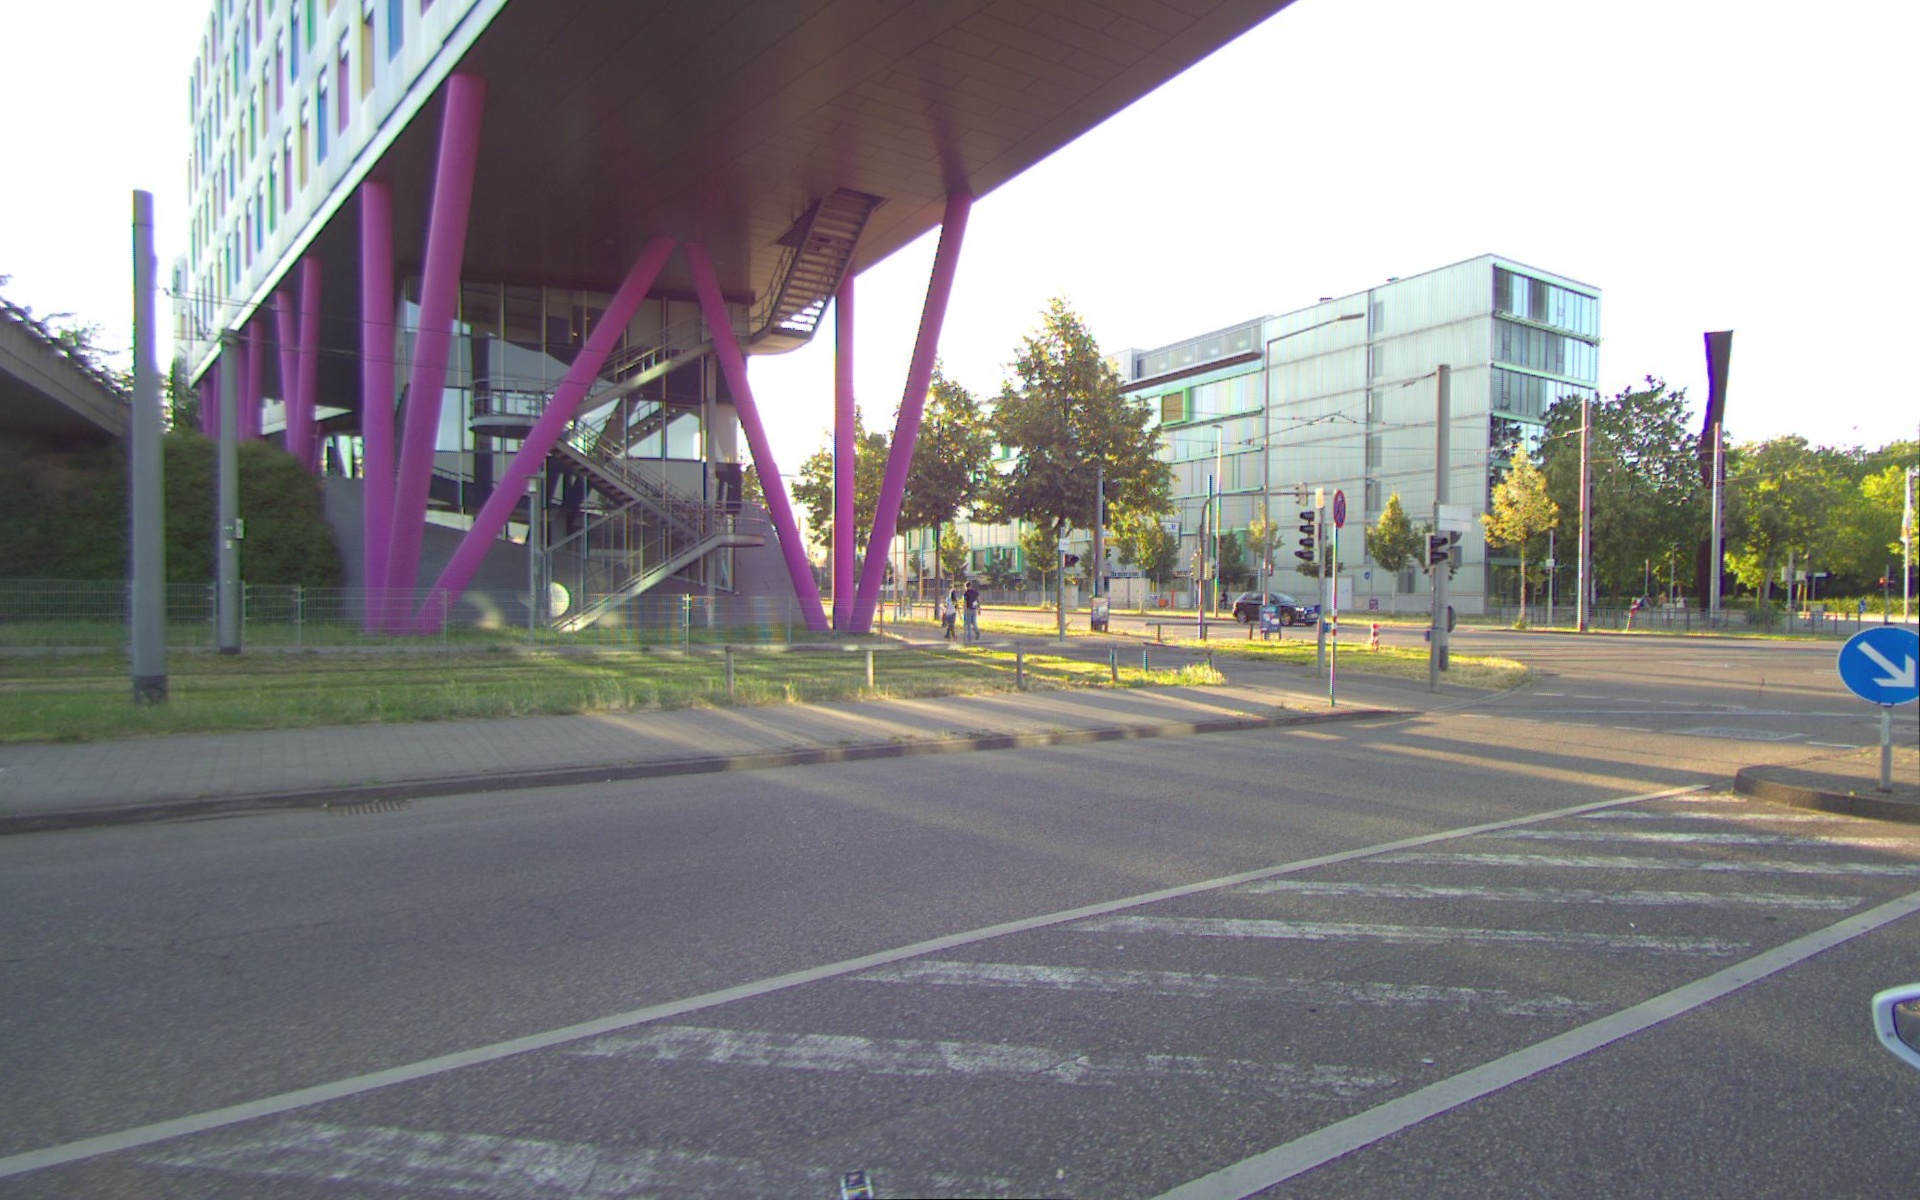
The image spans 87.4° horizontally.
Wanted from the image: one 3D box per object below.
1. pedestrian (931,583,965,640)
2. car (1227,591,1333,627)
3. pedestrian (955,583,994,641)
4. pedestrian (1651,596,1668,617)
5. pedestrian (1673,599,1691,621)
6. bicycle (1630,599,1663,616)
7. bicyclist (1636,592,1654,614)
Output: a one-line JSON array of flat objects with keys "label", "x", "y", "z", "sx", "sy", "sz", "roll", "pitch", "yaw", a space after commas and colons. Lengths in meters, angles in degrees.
[{"label": "pedestrian", "x": -0.378, "y": 0.368, "z": 30.956, "sx": 0.753, "sy": 1.727, "sz": 0.883, "roll": 0, "pitch": -1, "yaw": -23}, {"label": "car", "x": 14.934, "y": 0.389, "z": 47.078, "sx": 1.968, "sy": 1.577, "sz": 4.448, "roll": 1, "pitch": 0, "yaw": -34}, {"label": "pedestrian", "x": 0.446, "y": 0.376, "z": 31.153, "sx": 0.920, "sy": 1.747, "sz": 0.878, "roll": 0, "pitch": -1, "yaw": -23}, {"label": "pedestrian", "x": 58.799, "y": 0.541, "z": 84.430, "sx": 0.815, "sy": 1.767, "sz": 0.861, "roll": 1, "pitch": 1, "yaw": -8}, {"label": "pedestrian", "x": 60.610, "y": 0.827, "z": 84.320, "sx": 0.814, "sy": 1.767, "sz": 0.863, "roll": 1, "pitch": 1, "yaw": 1}, {"label": "bicycle", "x": 55.219, "y": 0.613, "z": 80.801, "sx": 0.718, "sy": 1.359, "sz": 2.689, "roll": 1, "pitch": 0, "yaw": -3}, {"label": "bicyclist", "x": 55.179, "y": 0.252, "z": 80.889, "sx": 0.738, "sy": 1.732, "sz": 0.919, "roll": 1, "pitch": 1, "yaw": -3}]
